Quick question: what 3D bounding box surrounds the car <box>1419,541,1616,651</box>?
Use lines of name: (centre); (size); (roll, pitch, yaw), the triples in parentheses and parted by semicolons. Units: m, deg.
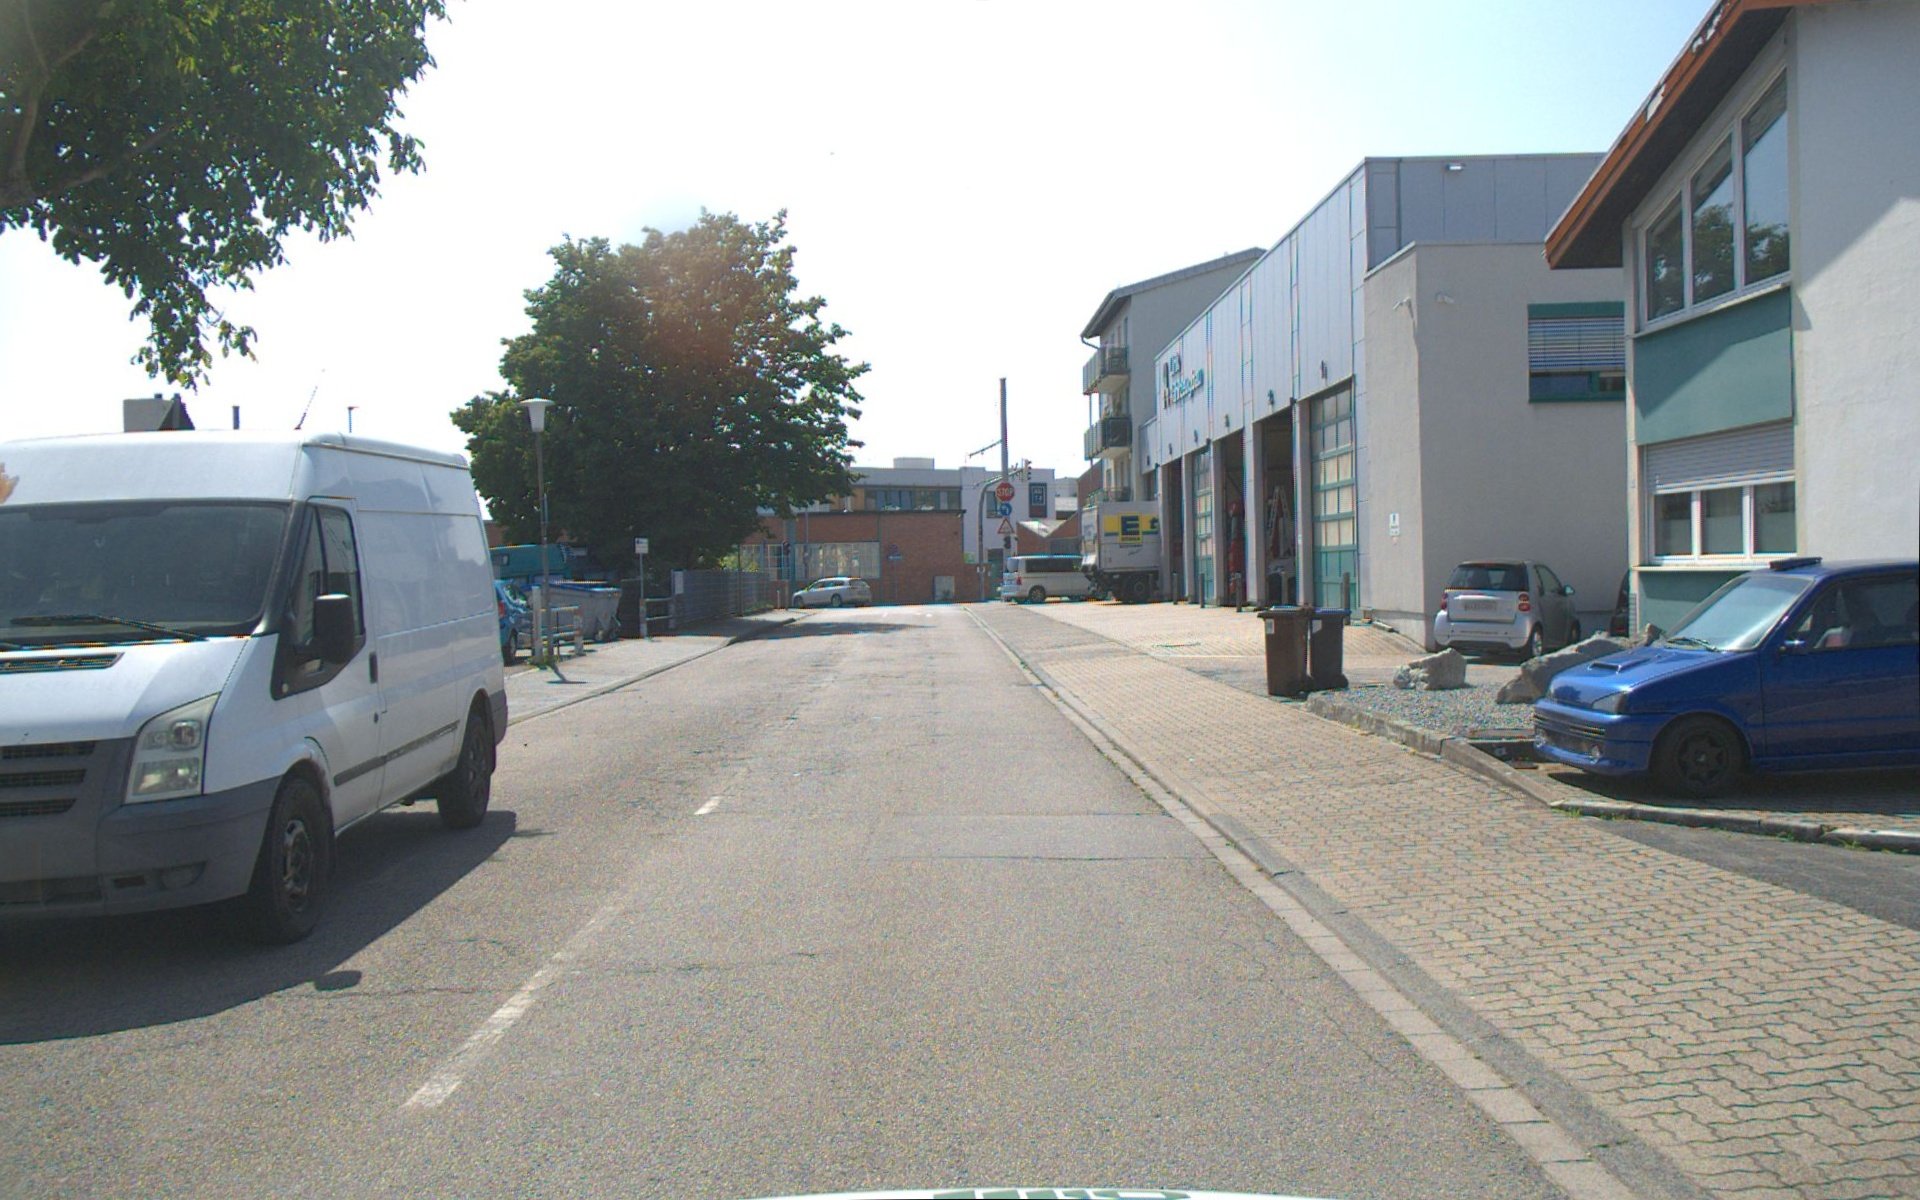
car: (8.982, -0.097, 26.506); (1.746, 1.566, 3.684); (-1, 2, 40)

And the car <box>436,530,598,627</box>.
car: (-12.366, -0.613, 46.369); (4.004, 2.556, 1.776); (-2, 1, -3)

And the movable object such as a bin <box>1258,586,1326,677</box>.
movable object such as a bin: (3.667, 0.344, 18.254); (0.557, 0.962, 0.556); (-2, 1, 32)

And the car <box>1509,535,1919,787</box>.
car: (5.422, 0.323, 10.644); (3.187, 1.423, 1.673); (-2, 1, -1)

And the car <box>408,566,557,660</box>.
car: (-8.794, 0.183, 30.744); (1.778, 1.556, 3.673); (-3, 1, -3)

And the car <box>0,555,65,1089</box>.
car: (-3.687, 0.761, 3.468); (1.672, 1.652, 3.969); (-4, 1, -6)

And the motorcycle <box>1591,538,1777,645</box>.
motorcycle: (11.505, -0.161, 26.167); (1.746, 1.518, 3.591); (-1, 2, 40)

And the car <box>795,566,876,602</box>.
car: (-6.281, -0.836, 83.066); (3.886, 1.714, 1.886); (2, 2, 41)

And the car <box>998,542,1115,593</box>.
car: (4.093, -1.381, 70.267); (4.586, 1.991, 1.905); (-2, 1, -20)

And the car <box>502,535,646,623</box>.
car: (-11.908, -0.650, 51.207); (4.004, 2.556, 1.776); (-2, 1, -3)

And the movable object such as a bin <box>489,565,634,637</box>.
movable object such as a bin: (-9.411, -0.004, 39.308); (2.571, 1.536, 2.730); (-2, 1, 4)

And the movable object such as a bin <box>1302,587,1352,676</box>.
movable object such as a bin: (4.142, 0.348, 18.678); (0.502, 0.962, 0.488); (-2, 1, 10)

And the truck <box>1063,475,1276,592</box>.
truck: (7.787, -2.471, 61.944); (7.222, 3.707, 2.763); (-5, 2, -7)

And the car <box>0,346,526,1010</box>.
car: (-3.891, 0.275, 8.695); (1.965, 2.407, 5.227); (-3, 1, -3)

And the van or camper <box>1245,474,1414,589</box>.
van or camper: (11.422, -2.108, 51.266); (4.663, 3.345, 1.998); (-2, 1, -5)
